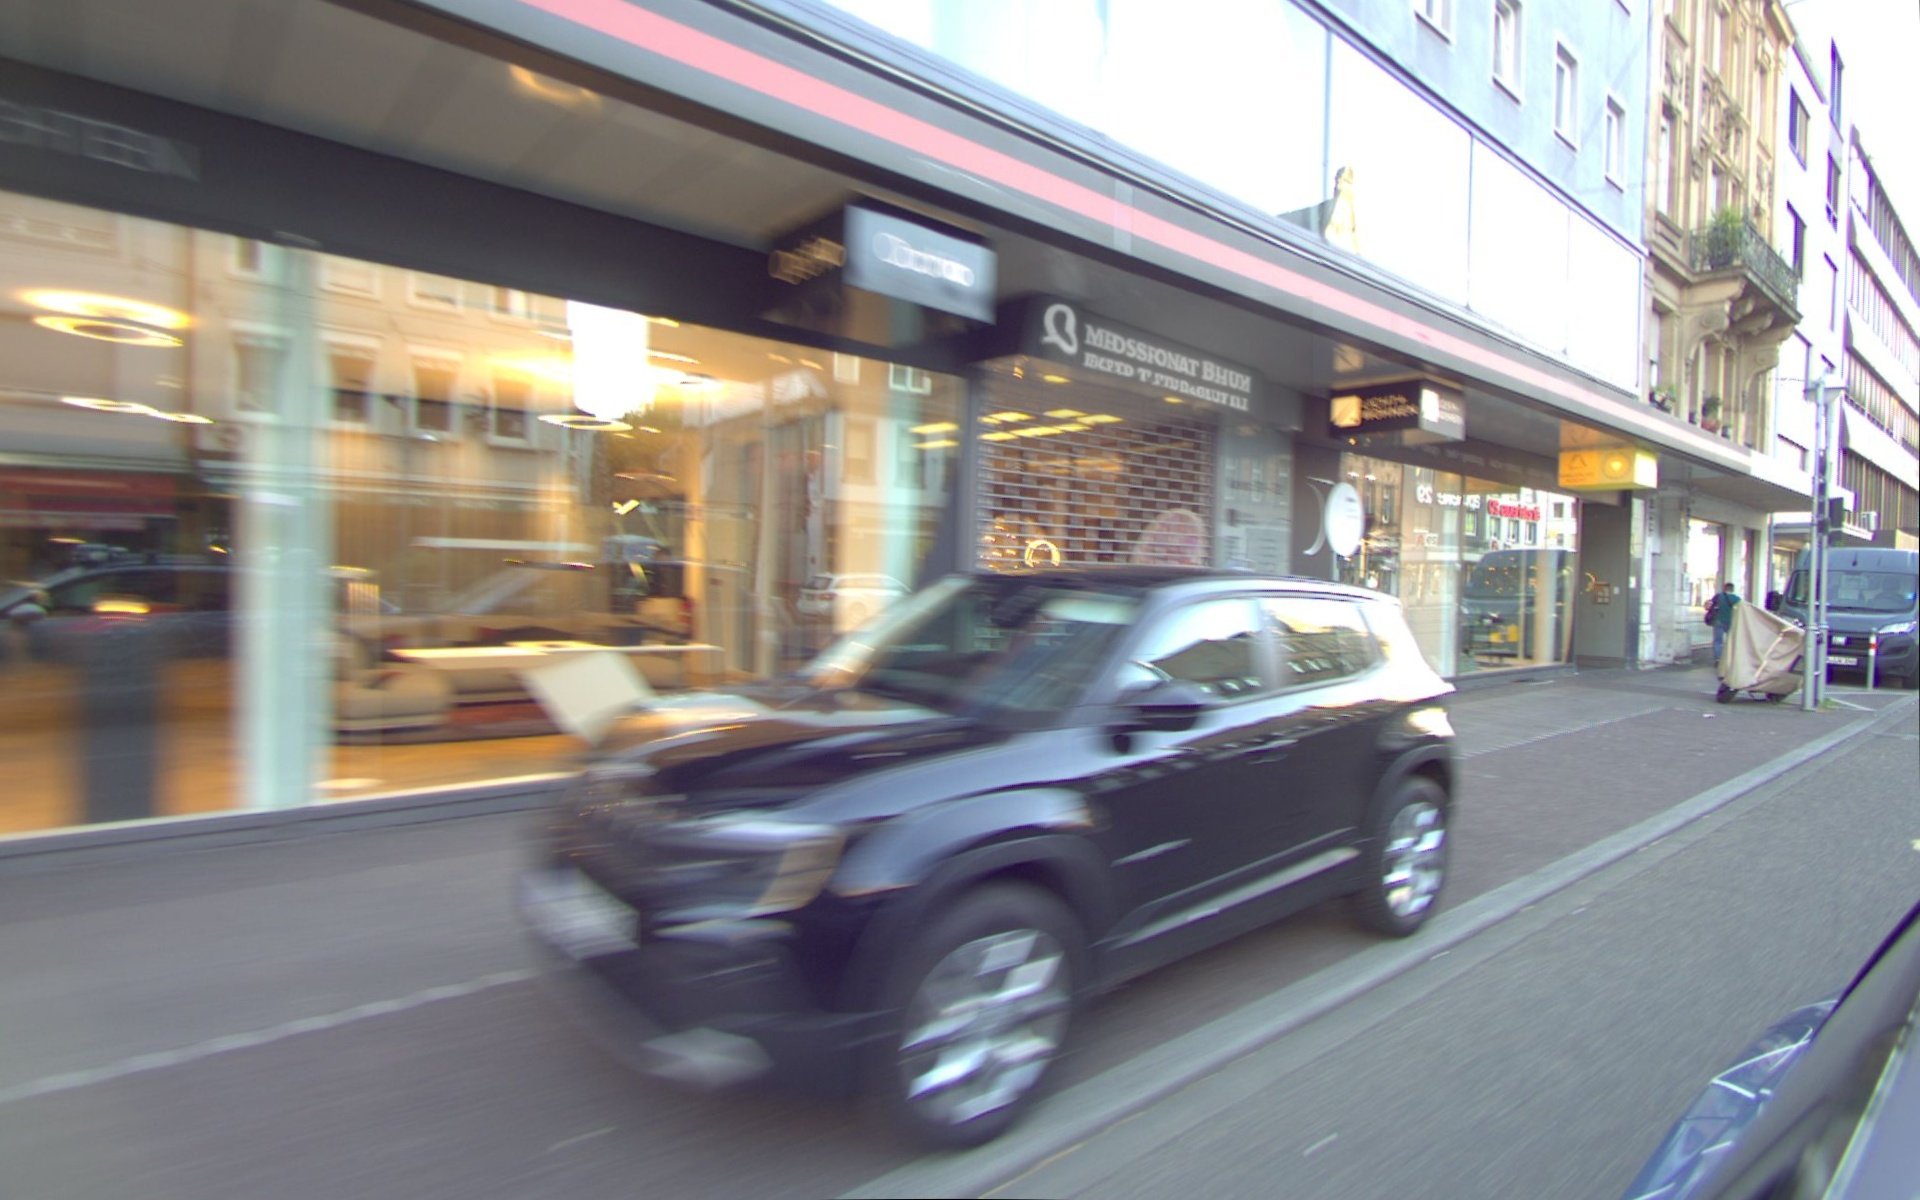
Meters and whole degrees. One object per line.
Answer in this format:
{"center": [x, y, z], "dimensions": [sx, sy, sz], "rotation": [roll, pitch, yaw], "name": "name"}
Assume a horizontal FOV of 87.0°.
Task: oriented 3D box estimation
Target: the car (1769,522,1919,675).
{"center": [17.027, -0.044, 18.965], "dimensions": [5.509, 2.479, 2.077], "rotation": [-1, 0, -42], "name": "car"}

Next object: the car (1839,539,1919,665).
{"center": [21.784, 0.000, 22.951], "dimensions": [5.506, 2.606, 1.997], "rotation": [-1, 0, -41], "name": "car"}

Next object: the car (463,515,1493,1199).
{"center": [0.380, 0.558, 3.976], "dimensions": [3.897, 1.560, 1.743], "rotation": [-1, 2, -41], "name": "car"}

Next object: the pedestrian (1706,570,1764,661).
{"center": [15.769, 0.293, 20.589], "dimensions": [0.776, 1.777, 0.742], "rotation": [0, 4, -44], "name": "pedestrian"}

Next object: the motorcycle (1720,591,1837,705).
{"center": [11.384, 0.606, 14.035], "dimensions": [2.591, 1.421, 0.784], "rotation": [0, 3, -41], "name": "motorcycle"}
